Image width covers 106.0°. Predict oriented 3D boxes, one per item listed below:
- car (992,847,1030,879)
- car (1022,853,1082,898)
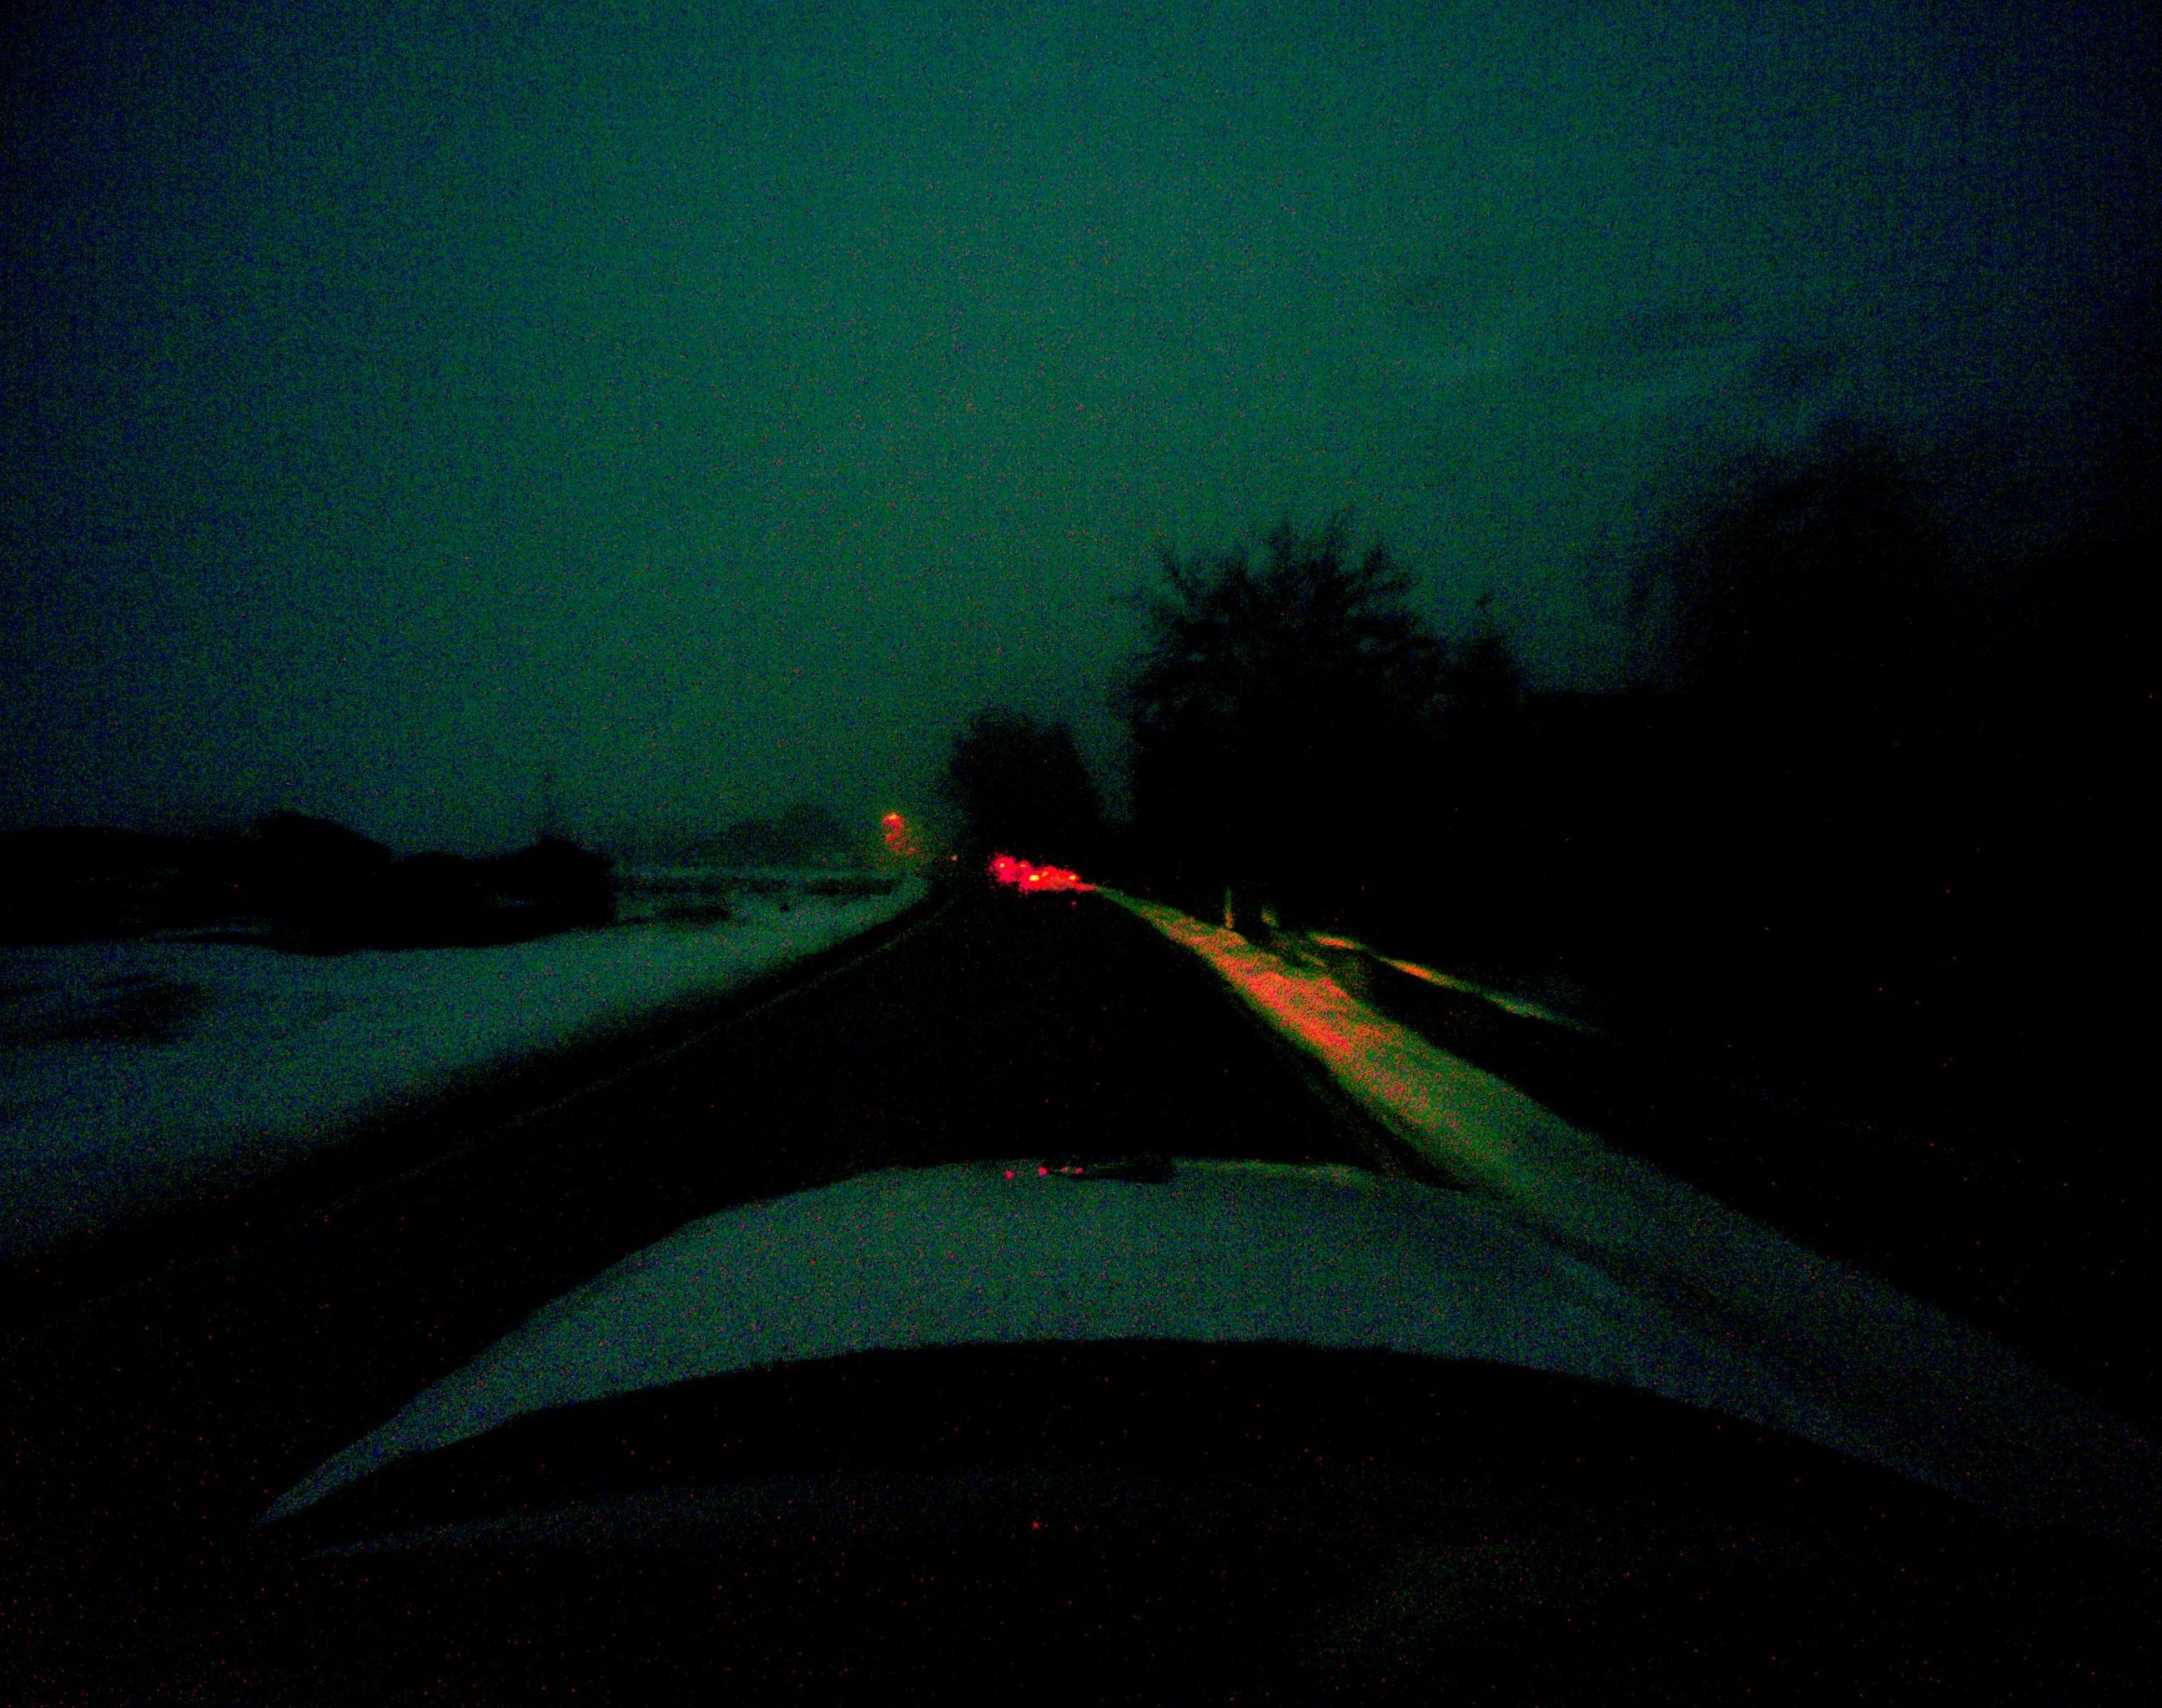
[{"bbox_3d":[-3.984,0.522,45.857,1.992,1.750,3.990,0,-1,-7],"label":"car"},{"bbox_3d":[-1.134,0.774,30.019,1.990,1.508,3.992,0,-1,-5],"label":"car"}]
